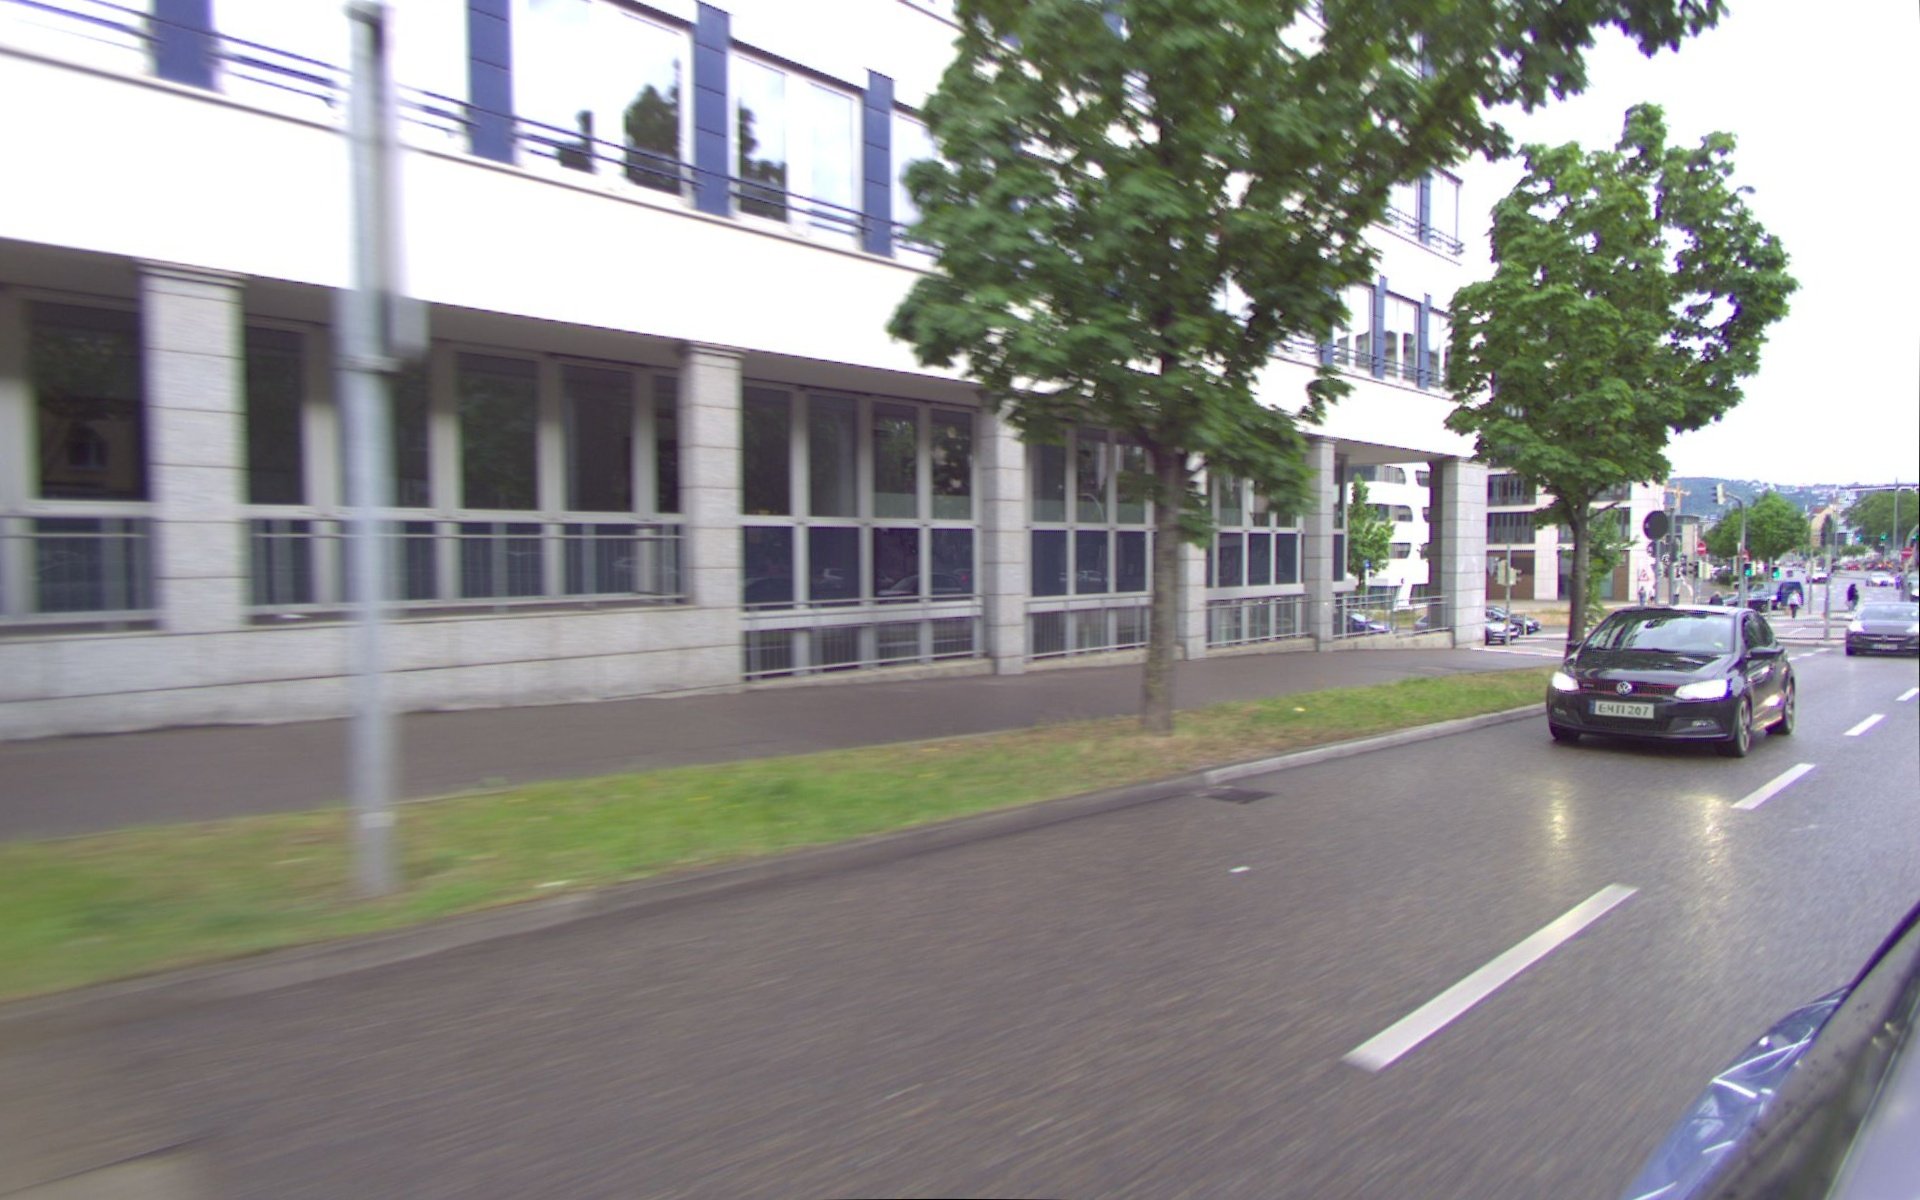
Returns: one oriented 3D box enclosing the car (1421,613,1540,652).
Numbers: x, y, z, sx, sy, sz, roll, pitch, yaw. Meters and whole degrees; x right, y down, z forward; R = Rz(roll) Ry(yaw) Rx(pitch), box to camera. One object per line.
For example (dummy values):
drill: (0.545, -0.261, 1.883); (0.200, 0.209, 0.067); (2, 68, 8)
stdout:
car: (22.802, 1.379, 44.531); (1.819, 1.407, 4.493); (-1, 2, -26)

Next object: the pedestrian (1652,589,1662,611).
pedestrian: (51.685, 0.019, 74.999); (0.584, 1.630, 0.597); (-1, 0, 34)

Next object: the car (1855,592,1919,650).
car: (26.002, 0.536, 27.702); (3.642, 1.459, 1.750); (-1, 0, -41)

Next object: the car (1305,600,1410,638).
car: (19.816, 0.973, 50.590); (1.825, 1.688, 4.478); (-5, 2, -40)

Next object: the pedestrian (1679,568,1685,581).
pedestrian: (83.200, -2.944, 116.631); (0.584, 1.496, 0.597); (-1, 0, 36)

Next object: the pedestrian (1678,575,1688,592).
pedestrian: (62.542, -1.423, 87.590); (0.582, 1.496, 0.599); (-1, 0, 27)

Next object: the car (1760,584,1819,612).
car: (58.205, -0.167, 71.007); (4.206, 1.885, 1.802); (-1, 0, -30)

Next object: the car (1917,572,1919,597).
car: (76.476, -1.248, 79.217); (1.790, 1.970, 3.946); (-1, 0, 38)

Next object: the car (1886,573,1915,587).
car: (104.515, -2.229, 112.478); (1.789, 1.529, 3.949); (-1, 1, 35)

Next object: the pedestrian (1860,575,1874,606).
pedestrian: (54.808, -0.581, 61.132); (0.601, 1.825, 0.579); (-1, 0, 41)

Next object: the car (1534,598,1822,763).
car: (7.793, 0.707, 10.861); (3.782, 1.417, 1.676); (-1, 1, -41)

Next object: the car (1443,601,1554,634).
car: (26.503, 0.866, 49.904); (1.826, 1.408, 4.473); (-3, 0, -44)

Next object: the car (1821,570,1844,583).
car: (107.588, -2.890, 124.793); (1.789, 1.529, 3.949); (-1, 0, 35)

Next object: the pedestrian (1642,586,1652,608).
pedestrian: (51.264, -0.233, 75.538); (0.584, 1.630, 0.597); (-1, 0, 34)

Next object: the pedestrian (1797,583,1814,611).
pedestrian: (46.580, -0.177, 55.734); (0.582, 1.496, 0.599); (-1, 0, 27)

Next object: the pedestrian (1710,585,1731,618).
pedestrian: (37.960, 0.071, 50.515); (0.633, 1.645, 0.707); (-1, 0, -40)
